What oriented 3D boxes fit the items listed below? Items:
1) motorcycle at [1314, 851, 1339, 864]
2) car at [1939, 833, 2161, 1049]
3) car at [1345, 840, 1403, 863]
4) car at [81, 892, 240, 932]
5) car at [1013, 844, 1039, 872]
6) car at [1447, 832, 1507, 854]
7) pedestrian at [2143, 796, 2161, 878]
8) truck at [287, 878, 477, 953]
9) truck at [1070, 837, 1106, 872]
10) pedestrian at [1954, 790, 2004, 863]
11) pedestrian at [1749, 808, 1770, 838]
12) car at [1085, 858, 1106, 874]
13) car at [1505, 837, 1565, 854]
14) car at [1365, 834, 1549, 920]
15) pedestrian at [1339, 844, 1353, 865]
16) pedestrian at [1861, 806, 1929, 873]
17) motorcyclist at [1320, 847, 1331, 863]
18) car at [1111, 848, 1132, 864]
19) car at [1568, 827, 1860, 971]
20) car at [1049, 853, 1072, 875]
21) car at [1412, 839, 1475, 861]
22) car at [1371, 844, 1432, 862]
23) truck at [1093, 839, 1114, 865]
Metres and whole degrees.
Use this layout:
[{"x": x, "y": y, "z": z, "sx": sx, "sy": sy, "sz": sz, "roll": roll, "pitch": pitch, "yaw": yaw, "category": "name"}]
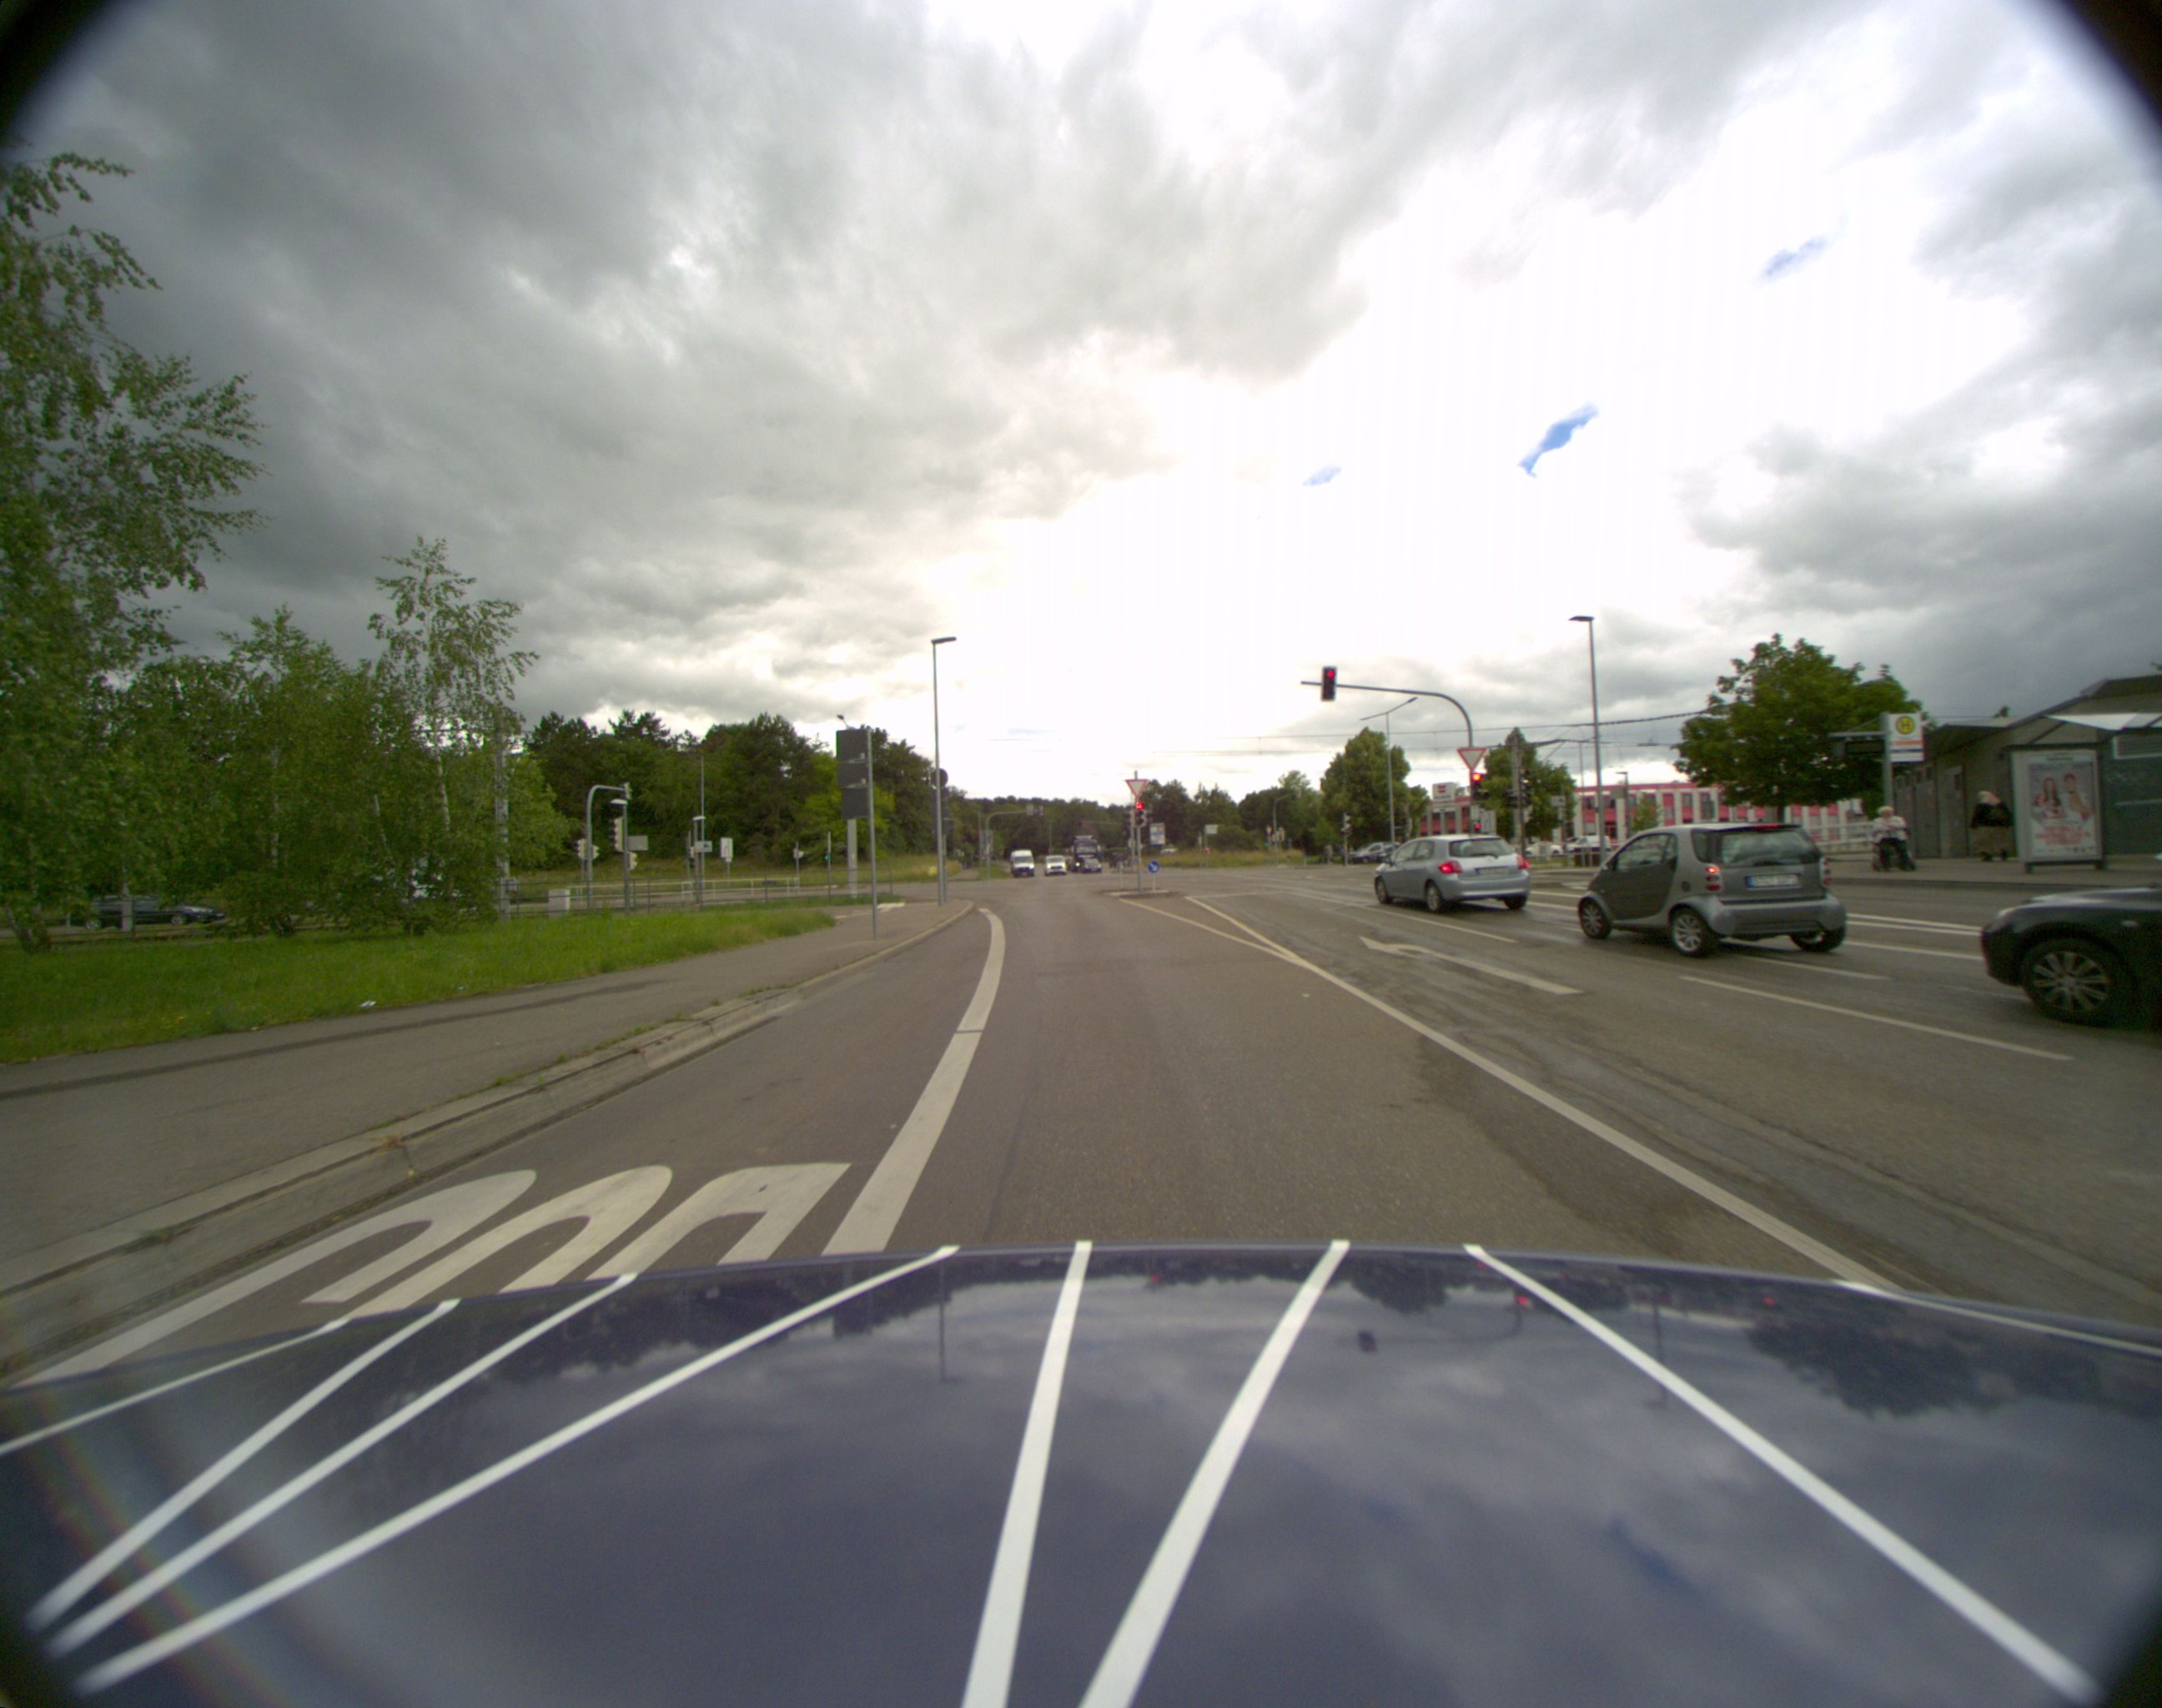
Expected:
[{"x": 22.626, "y": 0.338, "z": 69.943, "sx": 2.064, "sy": 1.084, "sz": 0.761, "roll": -2, "pitch": -1, "yaw": 27, "category": "motorcycle"}, {"x": 7.576, "y": 0.533, "z": 3.783, "sx": 1.803, "sy": 1.324, "sz": 4.381, "roll": -2, "pitch": 0, "yaw": 3, "category": "car"}, {"x": 24.792, "y": -0.236, "z": 64.337, "sx": 4.221, "sy": 1.770, "sz": 1.814, "roll": -2, "pitch": 0, "yaw": -5, "category": "car"}, {"x": -41.114, "y": 2.540, "z": 34.079, "sx": 4.003, "sy": 1.390, "sz": 1.996, "roll": -3, "pitch": 1, "yaw": -21, "category": "car"}, {"x": -5.529, "y": 0.394, "z": 75.766, "sx": 2.227, "sy": 2.643, "sz": 5.957, "roll": -3, "pitch": 0, "yaw": -6, "category": "car"}, {"x": 36.119, "y": -0.962, "z": 69.357, "sx": 4.454, "sy": 1.894, "sz": 2.183, "roll": 1, "pitch": 0, "yaw": -10, "category": "car"}, {"x": 17.797, "y": -0.287, "z": 12.189, "sx": 0.774, "sy": 1.322, "sz": 0.550, "roll": -2, "pitch": 0, "yaw": -4, "category": "pedestrian"}, {"x": -33.624, "y": 2.870, "z": 36.838, "sx": 6.278, "sy": 2.994, "sz": 2.107, "roll": -3, "pitch": 4, "yaw": -20, "category": "truck"}, {"x": 0.659, "y": 0.033, "z": 83.008, "sx": 3.074, "sy": 3.497, "sz": 5.957, "roll": -3, "pitch": 0, "yaw": -6, "category": "truck"}, {"x": 21.054, "y": -0.634, "z": 17.822, "sx": 0.549, "sy": 1.660, "sz": 0.639, "roll": -2, "pitch": 1, "yaw": 32, "category": "pedestrian"}, {"x": 36.510, "y": -1.668, "z": 40.875, "sx": 0.545, "sy": 1.563, "sz": 0.564, "roll": -5, "pitch": 1, "yaw": -9, "category": "pedestrian"}, {"x": 1.379, "y": 1.191, "z": 75.115, "sx": 1.635, "sy": 1.433, "sz": 3.864, "roll": -2, "pitch": 0, "yaw": -5, "category": "car"}, {"x": 39.730, "y": -0.753, "z": 66.528, "sx": 4.220, "sy": 1.333, "sz": 1.814, "roll": 1, "pitch": 0, "yaw": -3, "category": "car"}, {"x": 7.720, "y": 0.417, "z": 16.116, "sx": 1.831, "sy": 1.527, "sz": 4.219, "roll": -2, "pitch": 0, "yaw": 1, "category": "car"}, {"x": 19.215, "y": 0.046, "z": 55.147, "sx": 0.670, "sy": 1.521, "sz": 0.715, "roll": -2, "pitch": 0, "yaw": -4, "category": "pedestrian"}, {"x": 17.183, "y": -0.298, "z": 16.052, "sx": 0.550, "sy": 1.355, "sz": 0.774, "roll": -2, "pitch": 0, "yaw": -3, "category": "pedestrian"}, {"x": 22.550, "y": 0.126, "z": 69.974, "sx": 0.815, "sy": 1.413, "sz": 0.761, "roll": -2, "pitch": -1, "yaw": 27, "category": "motorcyclist"}, {"x": 5.122, "y": 0.233, "z": 95.855, "sx": 1.999, "sy": 1.865, "sz": 4.889, "roll": -2, "pitch": 0, "yaw": -3, "category": "car"}, {"x": 7.705, "y": 0.484, "z": 9.577, "sx": 1.431, "sy": 1.518, "sz": 2.775, "roll": -2, "pitch": 0, "yaw": 3, "category": "car"}, {"x": -2.100, "y": 0.947, "z": 75.920, "sx": 2.119, "sy": 1.979, "sz": 4.986, "roll": -4, "pitch": 0, "yaw": -2, "category": "car"}, {"x": 31.513, "y": -0.356, "z": 66.113, "sx": 4.694, "sy": 1.781, "sz": 1.814, "roll": -1, "pitch": 0, "yaw": -3, "category": "car"}, {"x": 25.871, "y": -0.079, "z": 61.440, "sx": 4.222, "sy": 1.333, "sz": 1.813, "roll": 1, "pitch": 0, "yaw": -7, "category": "car"}, {"x": 3.562, "y": -0.344, "z": 118.993, "sx": 2.785, "sy": 3.782, "sz": 8.391, "roll": -2, "pitch": 0, "yaw": 4, "category": "truck"}]
